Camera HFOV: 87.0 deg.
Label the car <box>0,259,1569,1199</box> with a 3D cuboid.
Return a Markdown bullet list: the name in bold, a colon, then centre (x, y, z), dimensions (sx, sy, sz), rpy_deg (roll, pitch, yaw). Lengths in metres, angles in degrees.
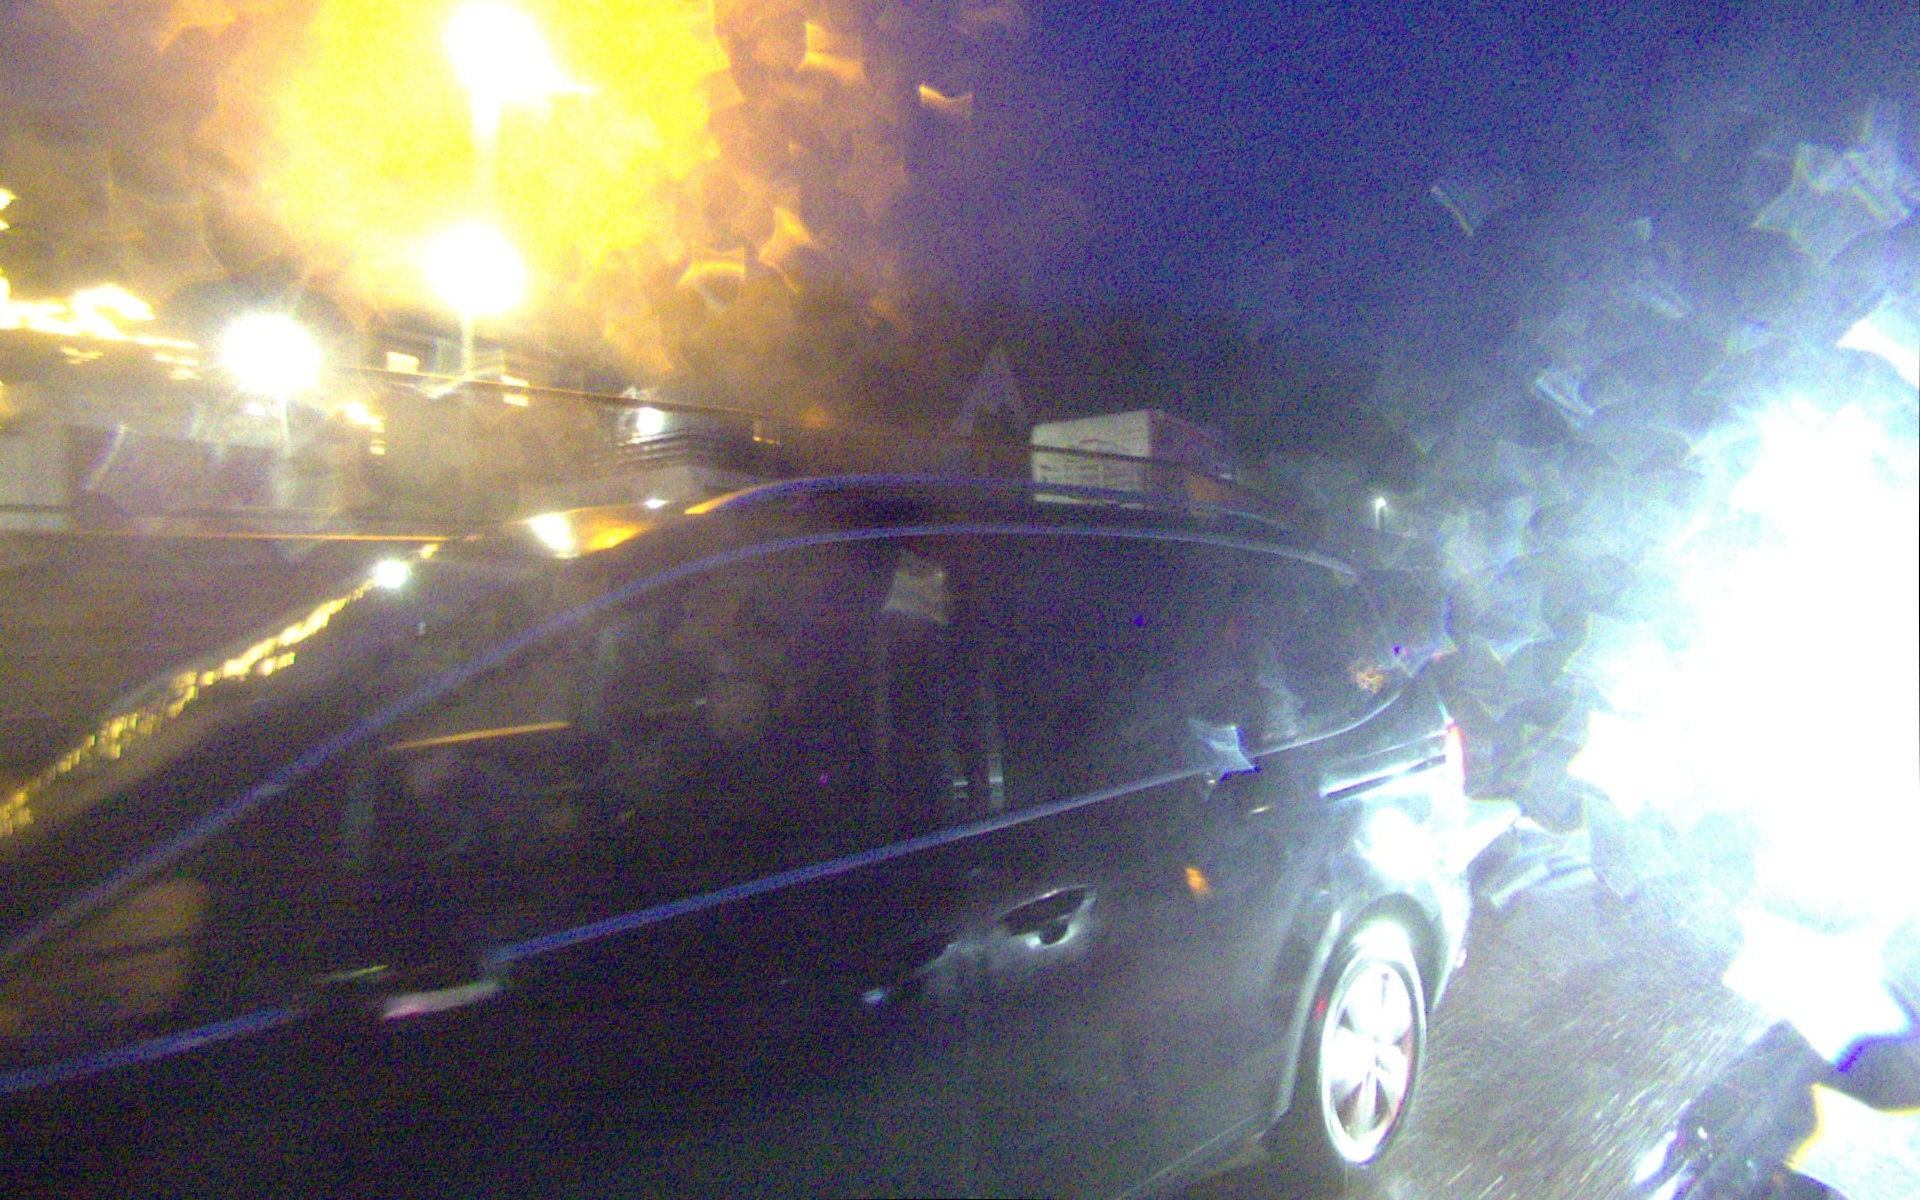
- **car**: centre (-0.576, 0.570, 2.274), dimensions (4.853, 1.757, 1.838), rpy_deg (-1, 0, -40)

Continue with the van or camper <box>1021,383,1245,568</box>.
- **van or camper**: centre (3.506, -2.084, 19.288), dimensions (2.394, 2.828, 5.712), rpy_deg (-1, 0, 30)

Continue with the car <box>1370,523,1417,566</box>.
- **car**: centre (22.628, -2.845, 52.763), dimensions (1.721, 2.039, 3.658), rpy_deg (-1, 0, 32)

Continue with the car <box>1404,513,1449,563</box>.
- **car**: centre (28.539, -3.742, 61.816), dimensions (1.922, 2.810, 4.206), rpy_deg (-1, 0, 32)

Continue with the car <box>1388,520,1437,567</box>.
- **car**: centre (25.636, -3.122, 57.301), dimensions (1.922, 2.451, 4.206), rpy_deg (-1, 0, 32)
